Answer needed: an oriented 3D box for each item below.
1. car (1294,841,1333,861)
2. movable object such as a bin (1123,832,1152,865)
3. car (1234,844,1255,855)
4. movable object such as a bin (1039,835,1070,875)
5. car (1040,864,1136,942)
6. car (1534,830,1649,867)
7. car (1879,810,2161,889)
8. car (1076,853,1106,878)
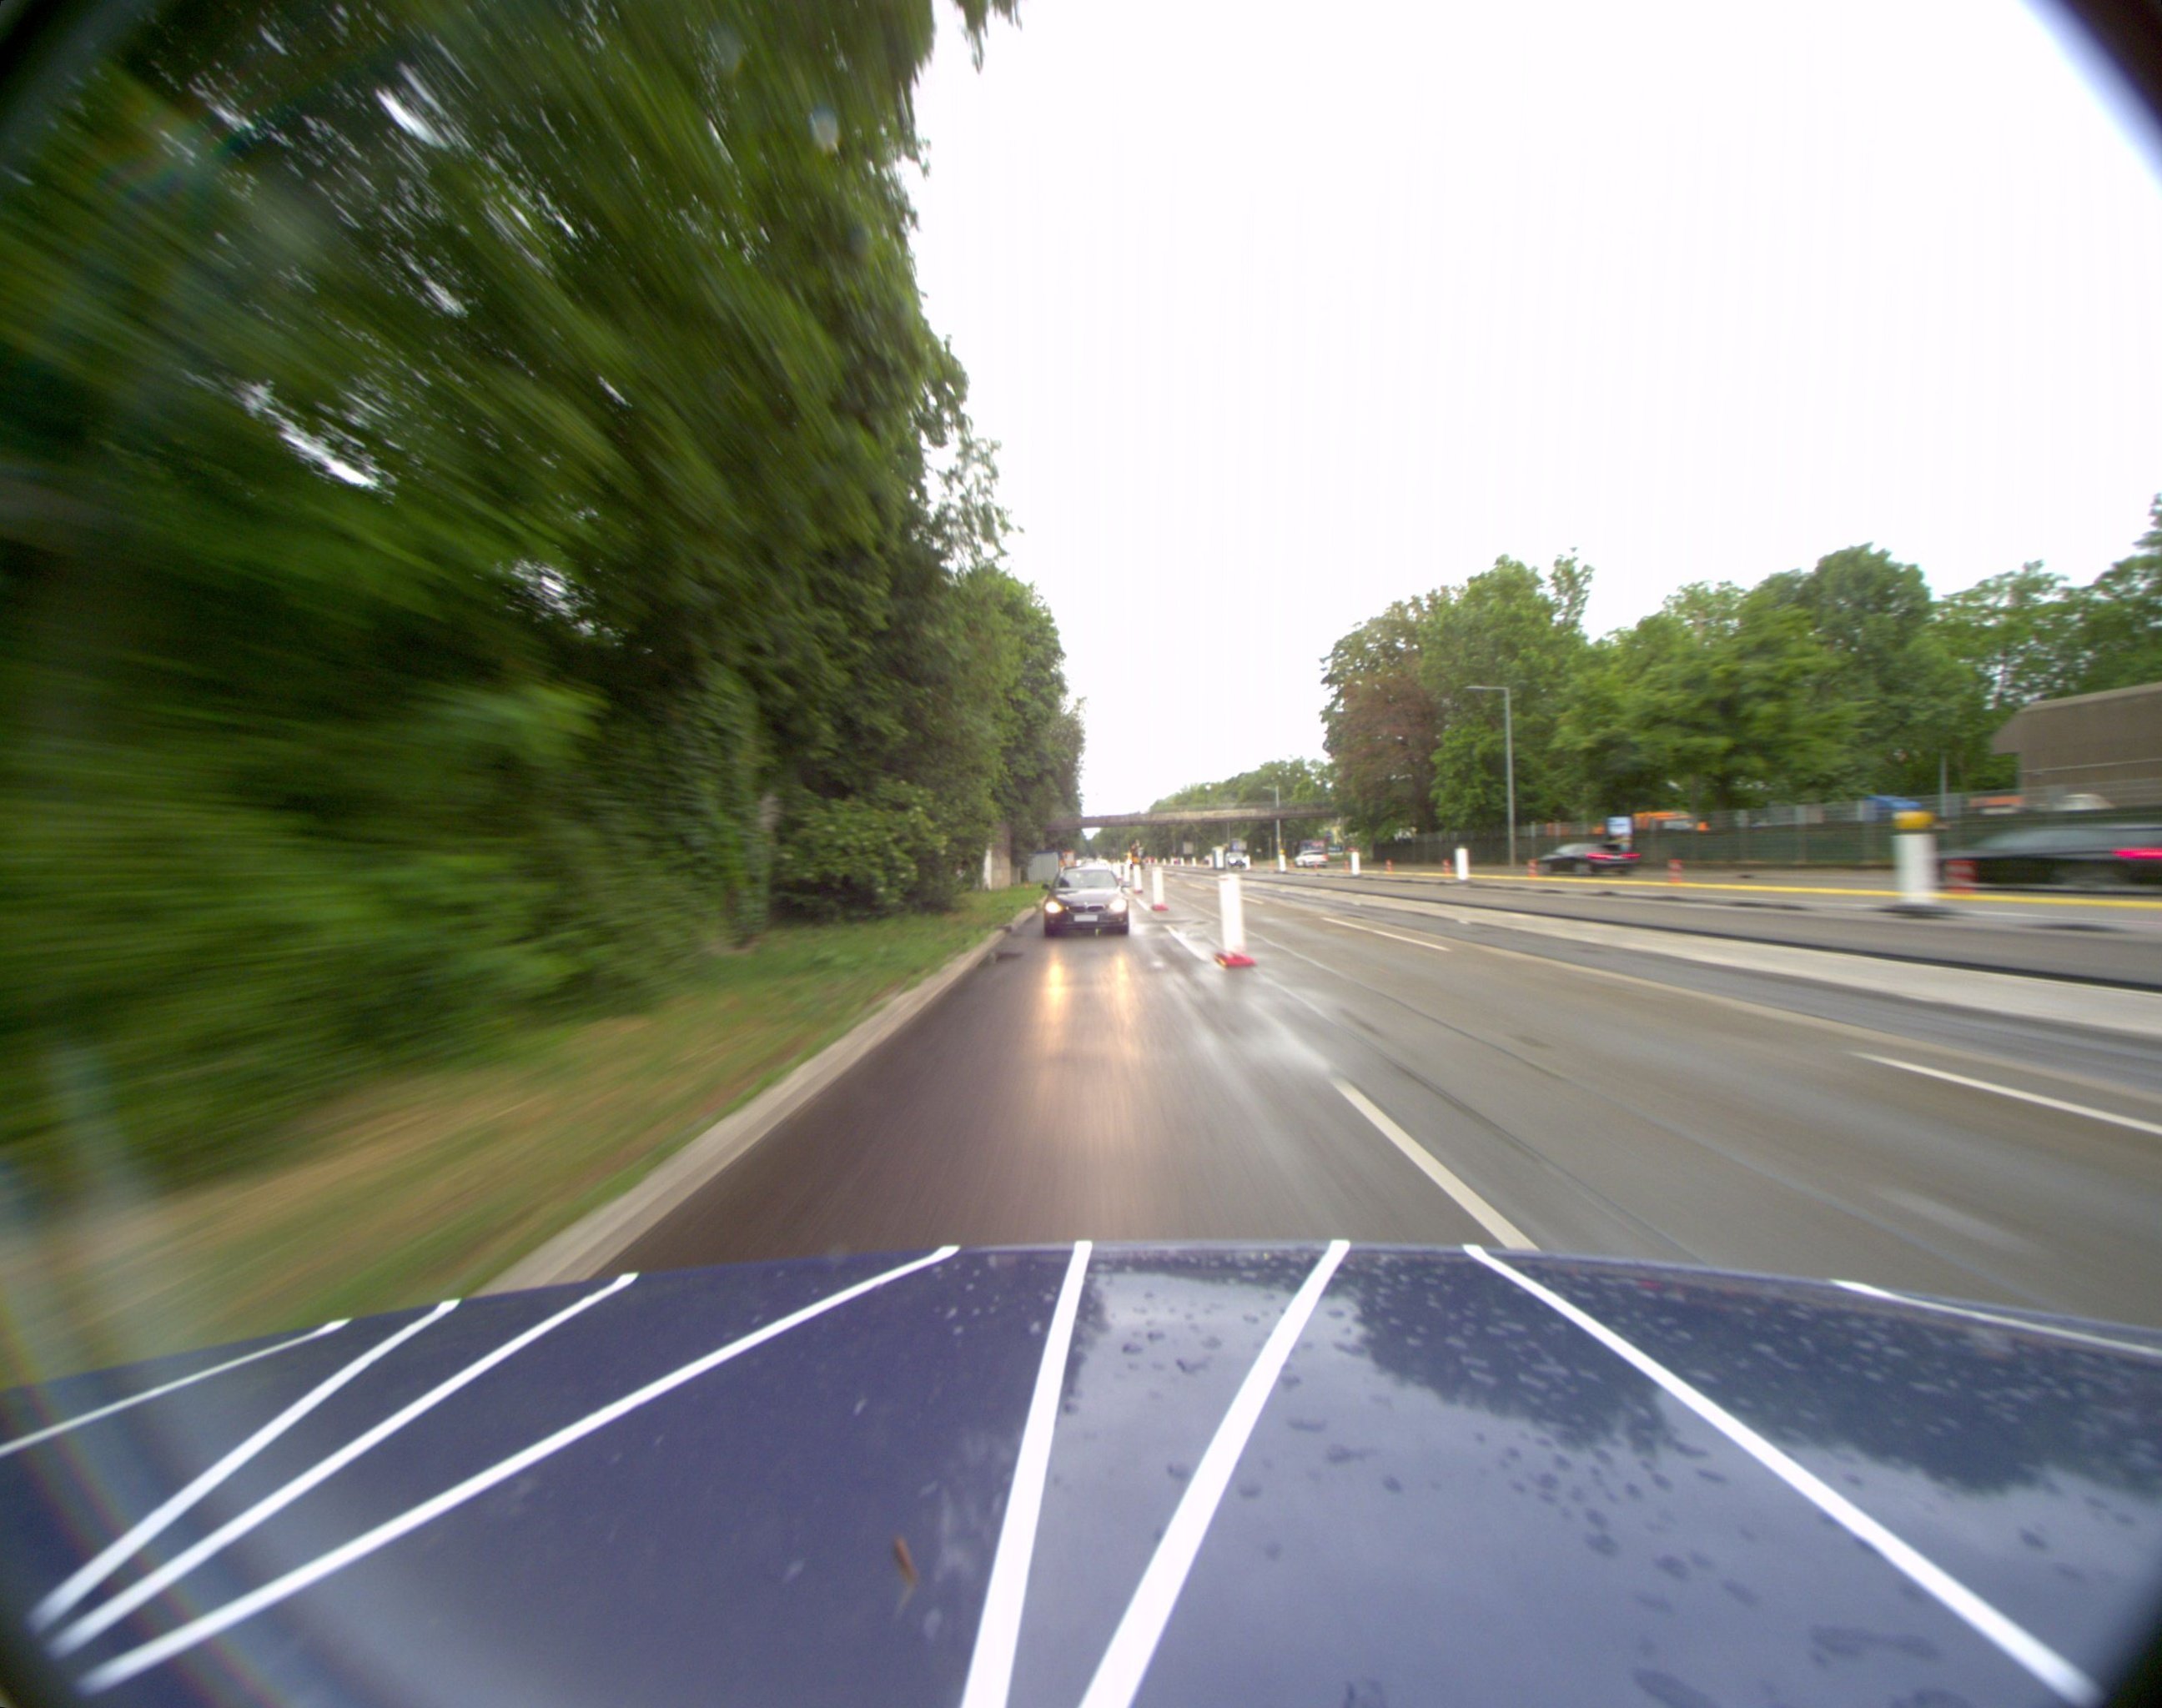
[{"bbox_3d":[19.639,-0.222,64.379,1.998,1.504,4.266,-3,0,1],"label":"car"},{"bbox_3d":[8.225,-0.792,112.757,3.526,4.495,10.070,-3,0,1],"label":"movable object such as a bin"},{"bbox_3d":[22.960,-0.650,106.787,1.998,1.509,4.305,-3,0,1],"label":"car"},{"bbox_3d":[-2.735,0.084,80.943,2.889,3.917,6.105,-3,0,0],"label":"movable object such as a bin"},{"bbox_3d":[0.131,1.006,17.203,1.838,1.397,3.999,-3,0,0],"label":"car"},{"bbox_3d":[21.598,-0.205,32.406,1.998,1.421,4.265,-3,0,0],"label":"car"},{"bbox_3d":[21.096,-0.124,16.731,2.051,1.446,4.764,-3,0,1],"label":"car"},{"bbox_3d":[0.739,0.797,55.107,1.998,1.650,4.229,-3,0,1],"label":"car"}]
